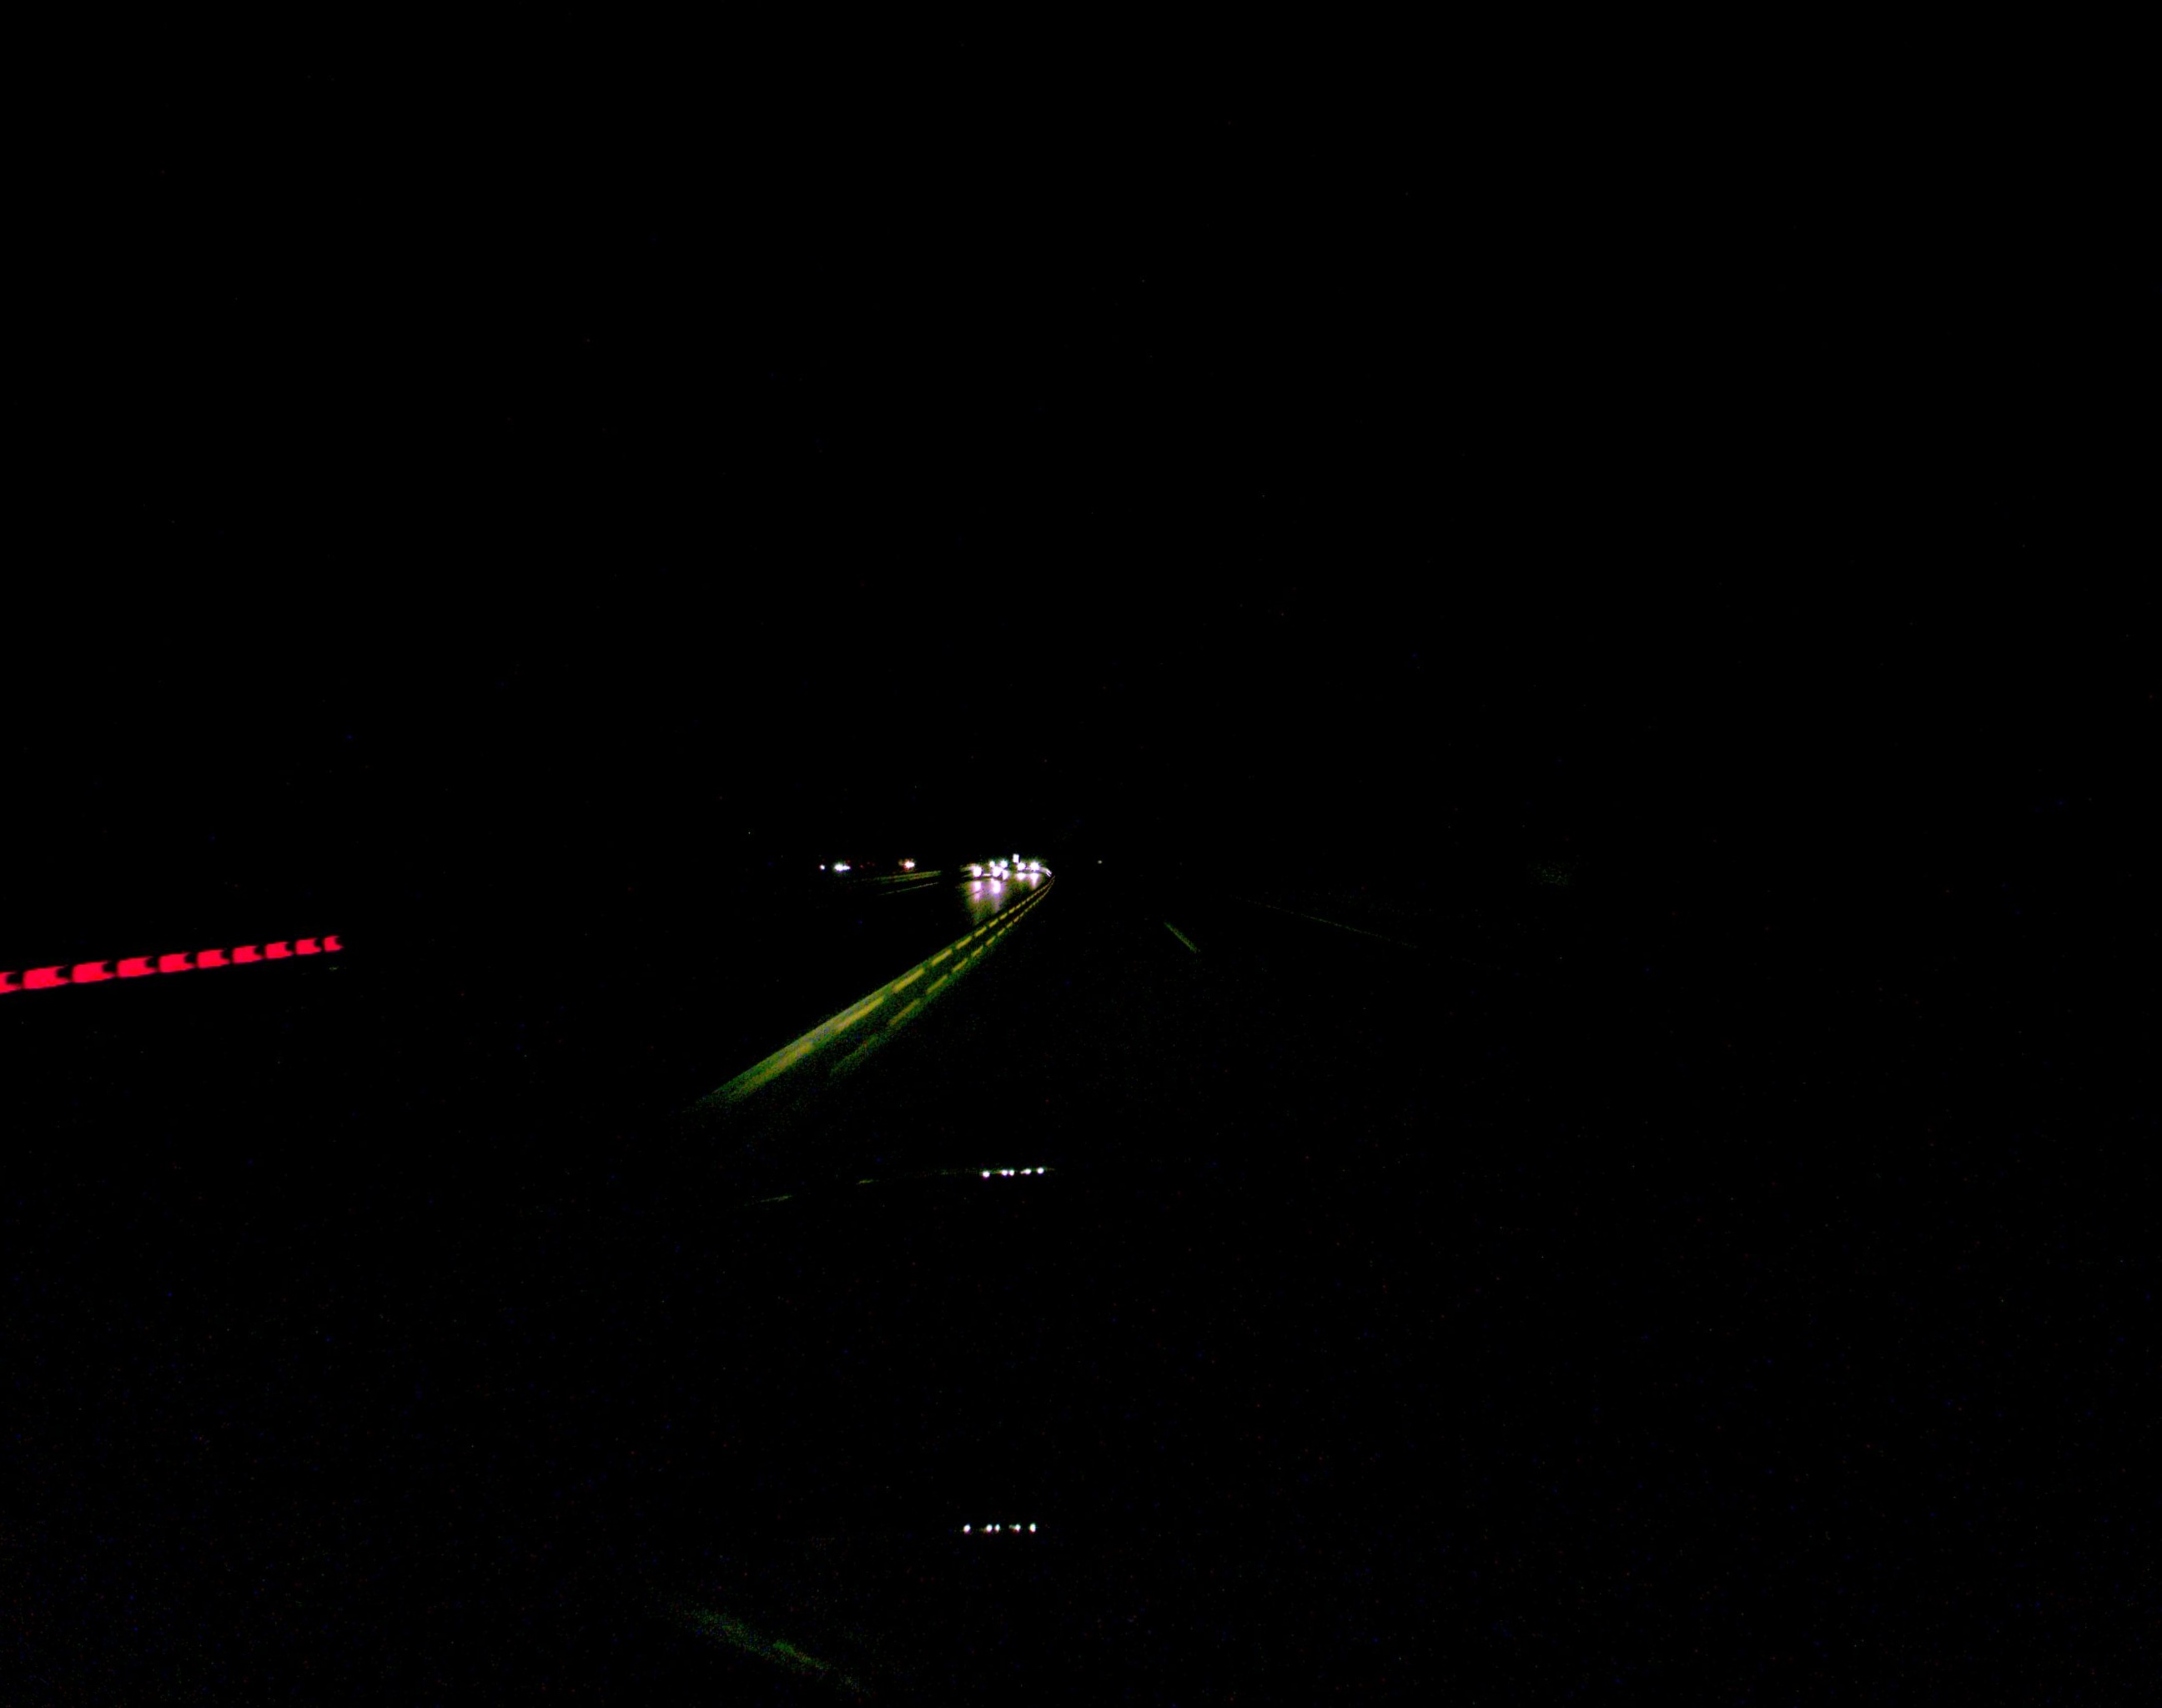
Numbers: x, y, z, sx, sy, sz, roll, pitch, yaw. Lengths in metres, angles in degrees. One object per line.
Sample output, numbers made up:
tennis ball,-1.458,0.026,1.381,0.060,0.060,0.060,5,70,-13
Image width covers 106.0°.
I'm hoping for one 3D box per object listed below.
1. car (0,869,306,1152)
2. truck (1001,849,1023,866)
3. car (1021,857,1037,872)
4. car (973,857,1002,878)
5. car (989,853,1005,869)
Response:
car,-6.429,0.830,3.585,1.707,1.443,4.486,-2,-1,0
truck,-19.180,1.022,224.518,4.016,4.552,13.890,-2,-1,-13
car,-5.407,1.127,84.399,1.648,1.469,3.993,-2,-1,-5
car,-6.410,0.948,56.243,1.712,1.380,4.239,0,-1,-3
car,-11.200,0.936,108.595,1.991,2.014,5.575,-2,-1,-6
